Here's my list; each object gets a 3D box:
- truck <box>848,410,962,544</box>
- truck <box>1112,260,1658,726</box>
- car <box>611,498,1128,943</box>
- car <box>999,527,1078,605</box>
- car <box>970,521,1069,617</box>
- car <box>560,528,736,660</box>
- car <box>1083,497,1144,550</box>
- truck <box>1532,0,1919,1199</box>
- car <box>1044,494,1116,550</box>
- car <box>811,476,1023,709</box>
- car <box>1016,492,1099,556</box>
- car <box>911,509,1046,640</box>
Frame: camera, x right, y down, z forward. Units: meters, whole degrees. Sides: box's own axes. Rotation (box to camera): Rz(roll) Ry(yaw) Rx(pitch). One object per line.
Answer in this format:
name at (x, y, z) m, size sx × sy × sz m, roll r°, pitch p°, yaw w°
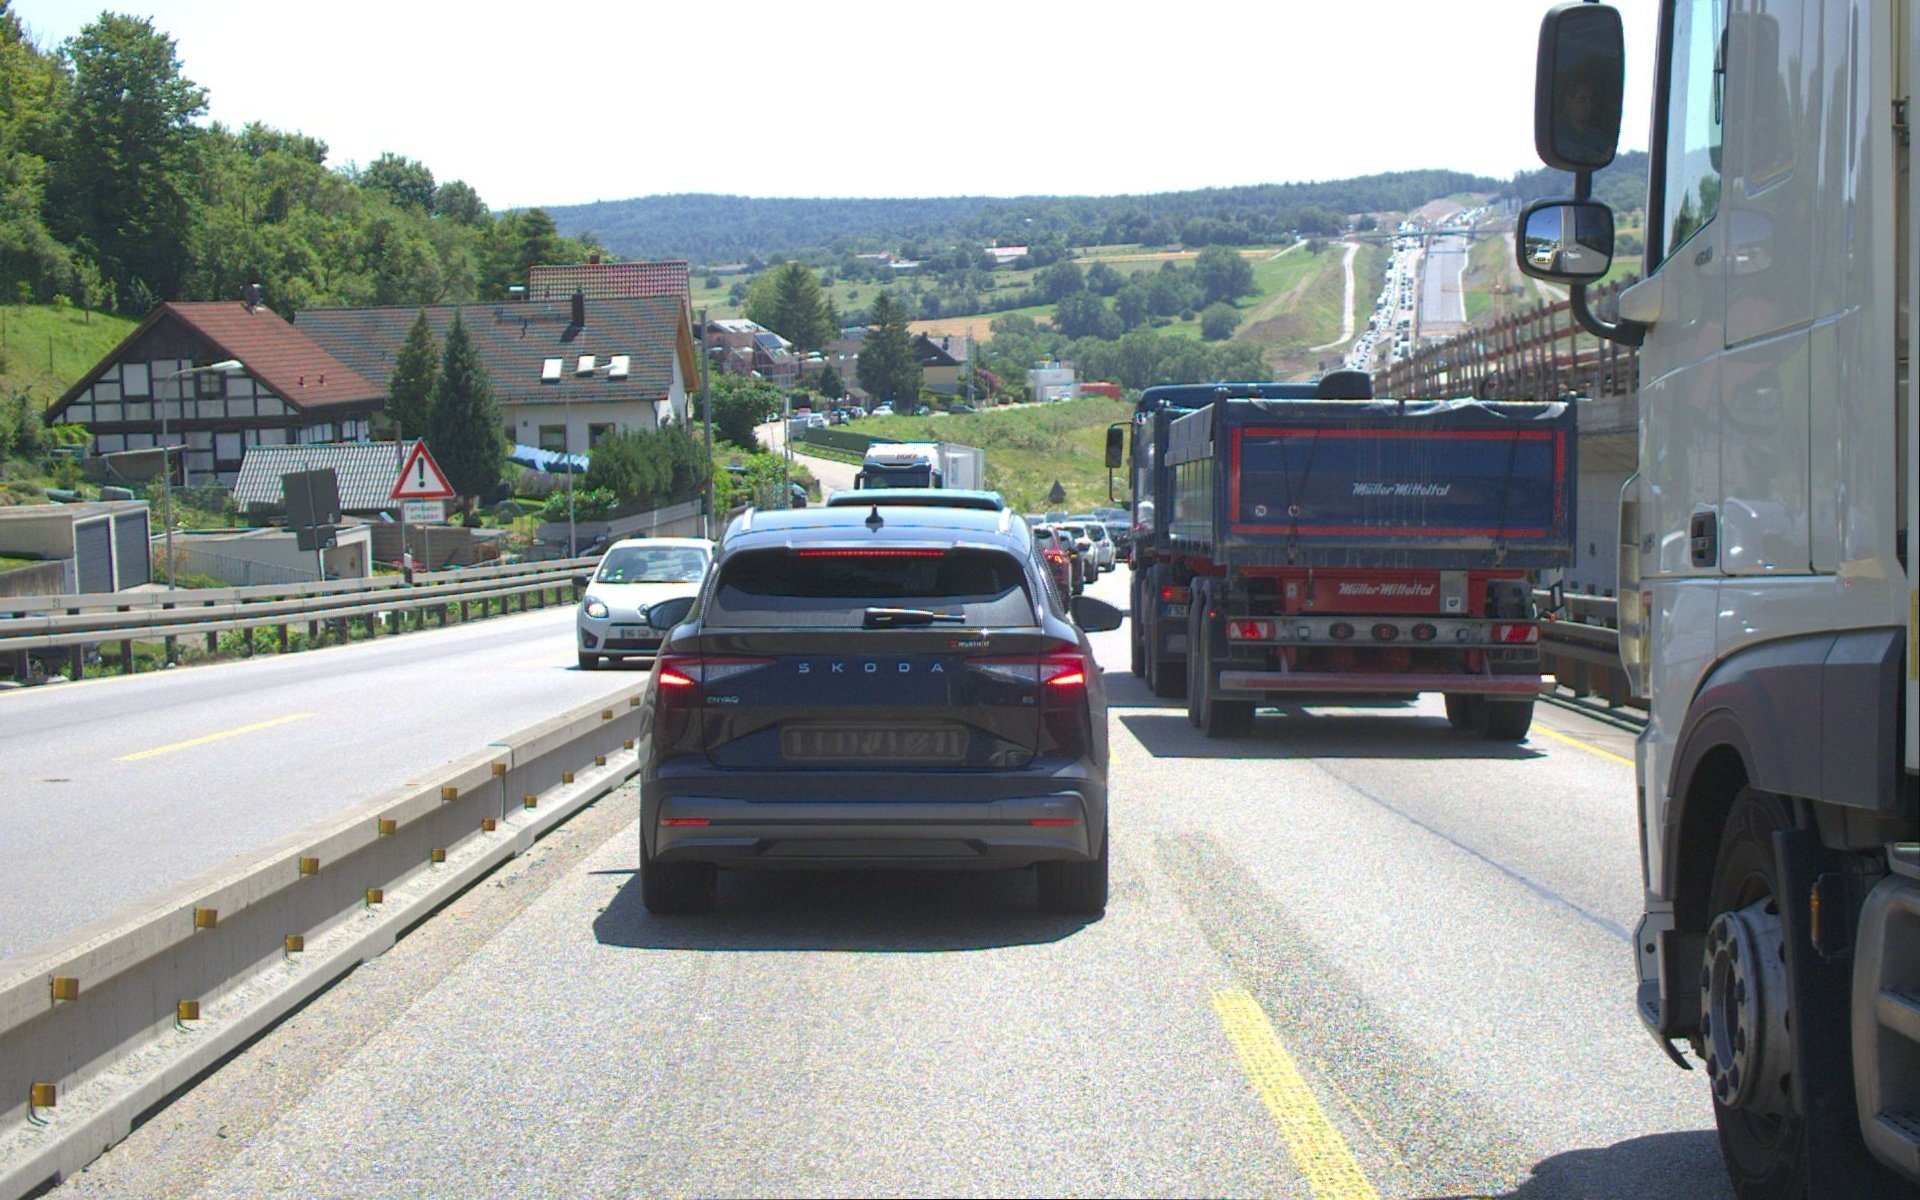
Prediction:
truck at (-1.824, -4.154, 118.383) m, size 3.303 × 4.347 × 8.300 m, roll 1°, pitch 1°, yaw 3°
truck at (3.209, -0.819, 30.076) m, size 3.195 × 3.180 × 12.809 m, roll 1°, pitch 1°, yaw 0°
car at (-0.364, 0.414, 14.403) m, size 1.842 × 1.581 × 3.908 m, roll 1°, pitch 1°, yaw -1°
car at (1.808, -0.790, 78.175) m, size 1.707 × 1.616 × 4.000 m, roll 1°, pitch 2°, yaw 2°
car at (1.123, -0.600, 63.762) m, size 1.707 × 1.616 × 4.000 m, roll 1°, pitch 2°, yaw 2°
car at (-3.585, -0.109, 40.078) m, size 1.747 × 1.421 × 3.710 m, roll 0°, pitch 2°, yaw -1°
car at (5.186, -2.563, 115.889) m, size 1.701 × 1.722 × 3.835 m, roll 1°, pitch 1°, yaw 7°
truck at (2.828, -0.651, 4.722) m, size 2.513 × 4.011 × 8.238 m, roll 1°, pitch 1°, yaw -1°
car at (3.560, -2.289, 101.527) m, size 1.994 × 1.579 × 3.836 m, roll 1°, pitch 1°, yaw 3°
car at (-0.391, -0.130, 30.300) m, size 1.707 × 1.875 × 4.001 m, roll 1°, pitch 2°, yaw -1°
car at (2.545, -1.937, 88.619) m, size 1.994 × 1.579 × 3.836 m, roll 1°, pitch 1°, yaw 3°
car at (0.206, -0.384, 46.695) m, size 1.707 × 1.616 × 4.001 m, roll 1°, pitch 2°, yaw -1°
